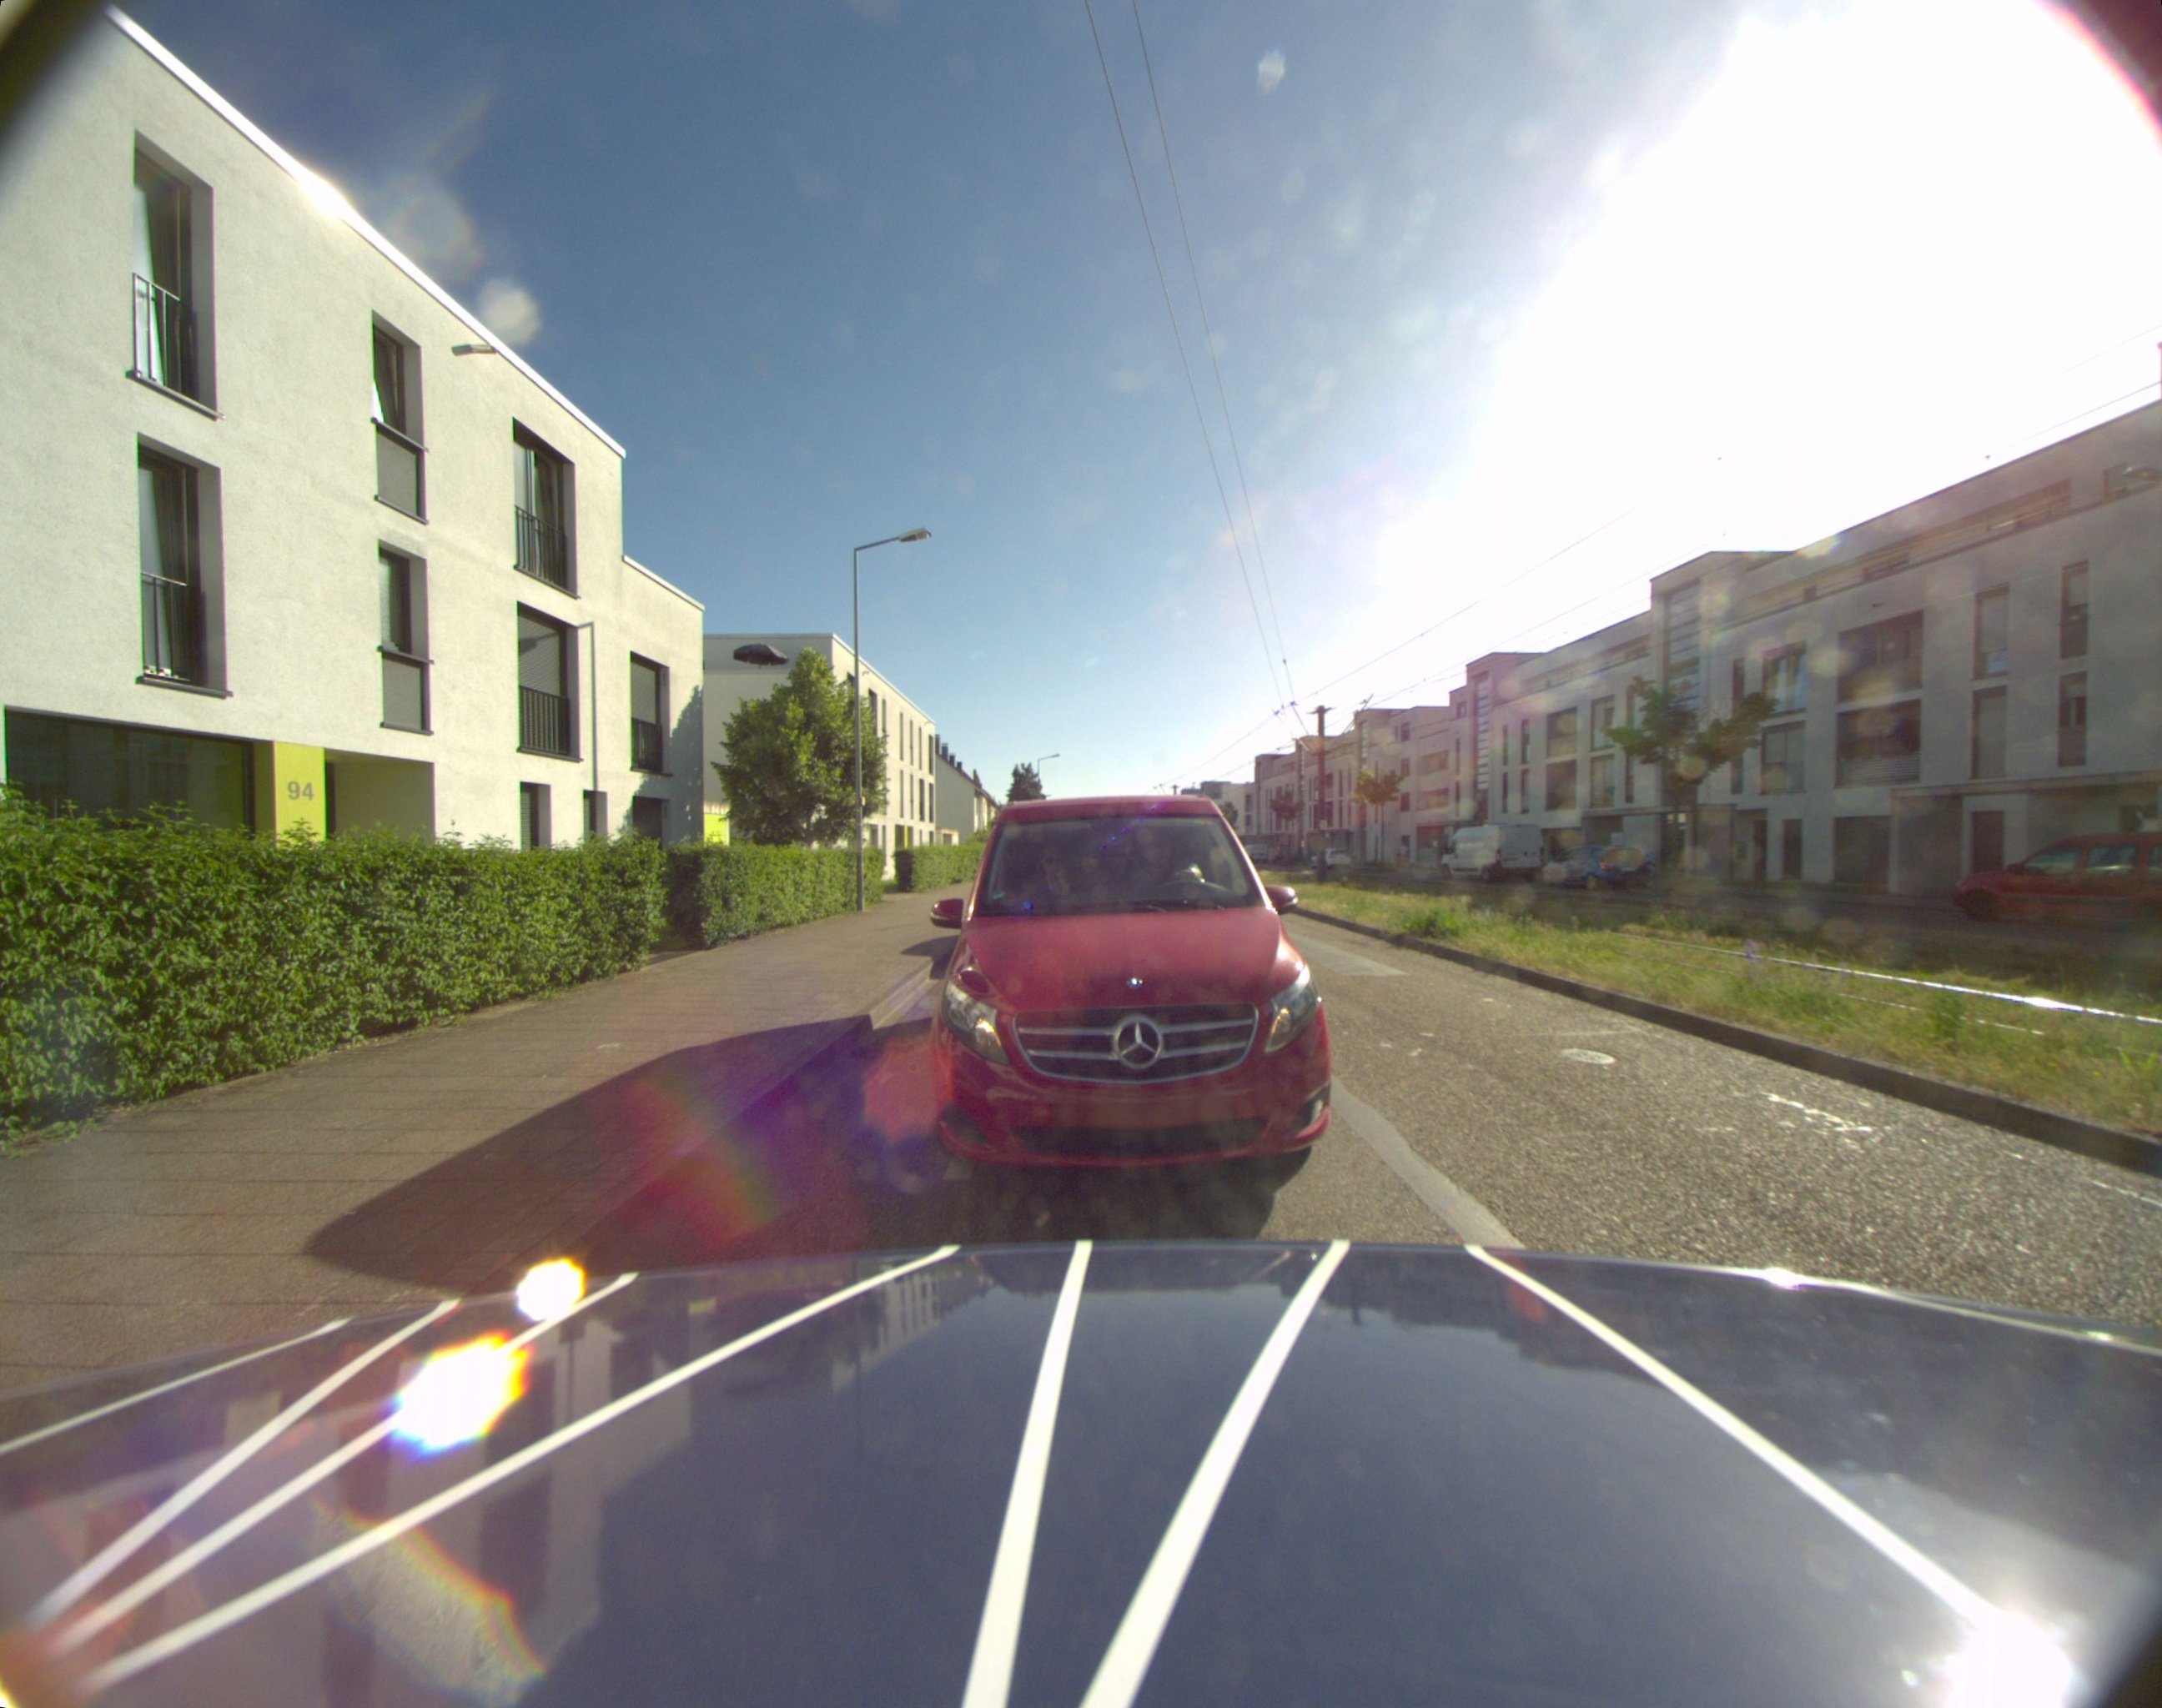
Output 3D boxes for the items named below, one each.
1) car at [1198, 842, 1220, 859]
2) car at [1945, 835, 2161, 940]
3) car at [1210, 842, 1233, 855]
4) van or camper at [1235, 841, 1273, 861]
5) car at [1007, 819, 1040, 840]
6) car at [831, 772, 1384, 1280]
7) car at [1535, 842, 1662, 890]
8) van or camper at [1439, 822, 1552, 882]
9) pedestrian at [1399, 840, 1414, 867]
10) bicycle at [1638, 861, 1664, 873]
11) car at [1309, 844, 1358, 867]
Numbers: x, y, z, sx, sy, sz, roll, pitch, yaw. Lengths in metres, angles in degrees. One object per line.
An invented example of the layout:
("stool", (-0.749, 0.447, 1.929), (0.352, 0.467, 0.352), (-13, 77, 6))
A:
("car", (15.962, -0.422, 94.659), (1.788, 2.002, 3.998), (-2, 1, -3))
("car", (18.558, 0.544, 13.568), (1.793, 1.713, 3.908), (1, 1, 1))
("car", (16.170, -0.630, 87.641), (1.867, 1.430, 3.496), (-2, 1, -3))
("van or camper", (17.228, -0.349, 75.944), (2.273, 1.838, 6.284), (-1, 1, -1))
("car", (-6.683, -2.856, 89.368), (3.182, 2.333, 6.174), (-2, 1, 2))
("car", (0.155, 0.668, 5.558), (2.127, 1.958, 5.083), (-2, 1, 1))
("car", (18.427, 0.361, 27.288), (1.934, 1.604, 3.835), (0, 1, 0))
("van or camper", (18.369, -0.115, 34.034), (2.197, 2.451, 5.259), (0, 1, 0))
("pedestrian", (20.420, -0.020, 47.719), (0.619, 1.634, 0.612), (-2, 1, -6))
("bicycle", (25.166, 0.559, 33.557), (0.354, 0.495, 1.061), (0, 1, -1))
("car", (18.085, 0.086, 54.617), (2.047, 1.577, 4.119), (0, 1, -2))
